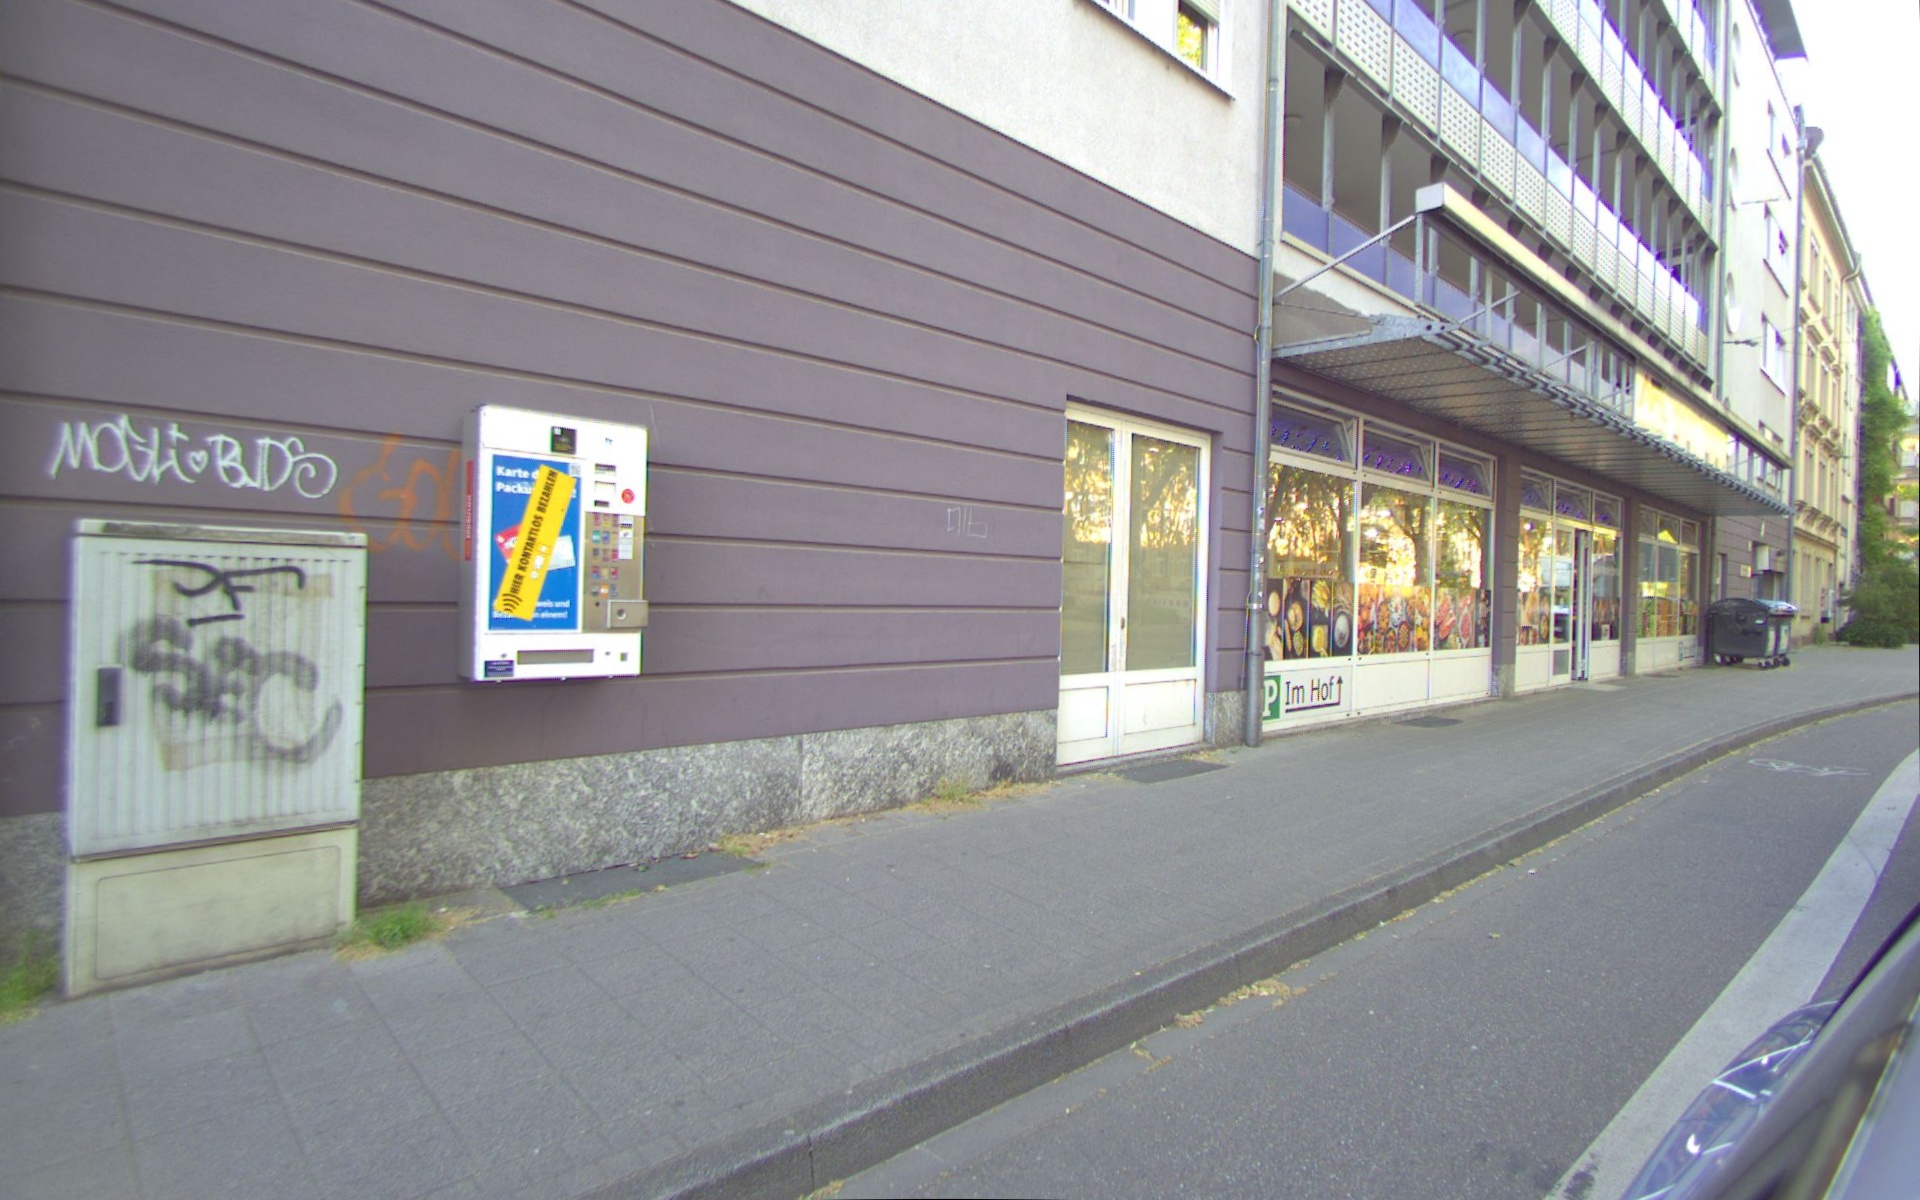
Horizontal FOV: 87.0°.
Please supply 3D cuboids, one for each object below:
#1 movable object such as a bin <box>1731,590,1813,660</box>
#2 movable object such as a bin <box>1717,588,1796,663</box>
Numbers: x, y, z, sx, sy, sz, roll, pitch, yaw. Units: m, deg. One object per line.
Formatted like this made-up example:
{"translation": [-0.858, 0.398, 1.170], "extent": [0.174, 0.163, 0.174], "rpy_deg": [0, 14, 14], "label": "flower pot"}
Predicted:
{"translation": [17.784, 0.523, 22.163], "extent": [1.282, 1.464, 1.123], "rpy_deg": [1, 1, -38], "label": "movable object such as a bin"}
{"translation": [16.435, 0.502, 20.876], "extent": [1.274, 1.465, 1.068], "rpy_deg": [1, 1, -42], "label": "movable object such as a bin"}
